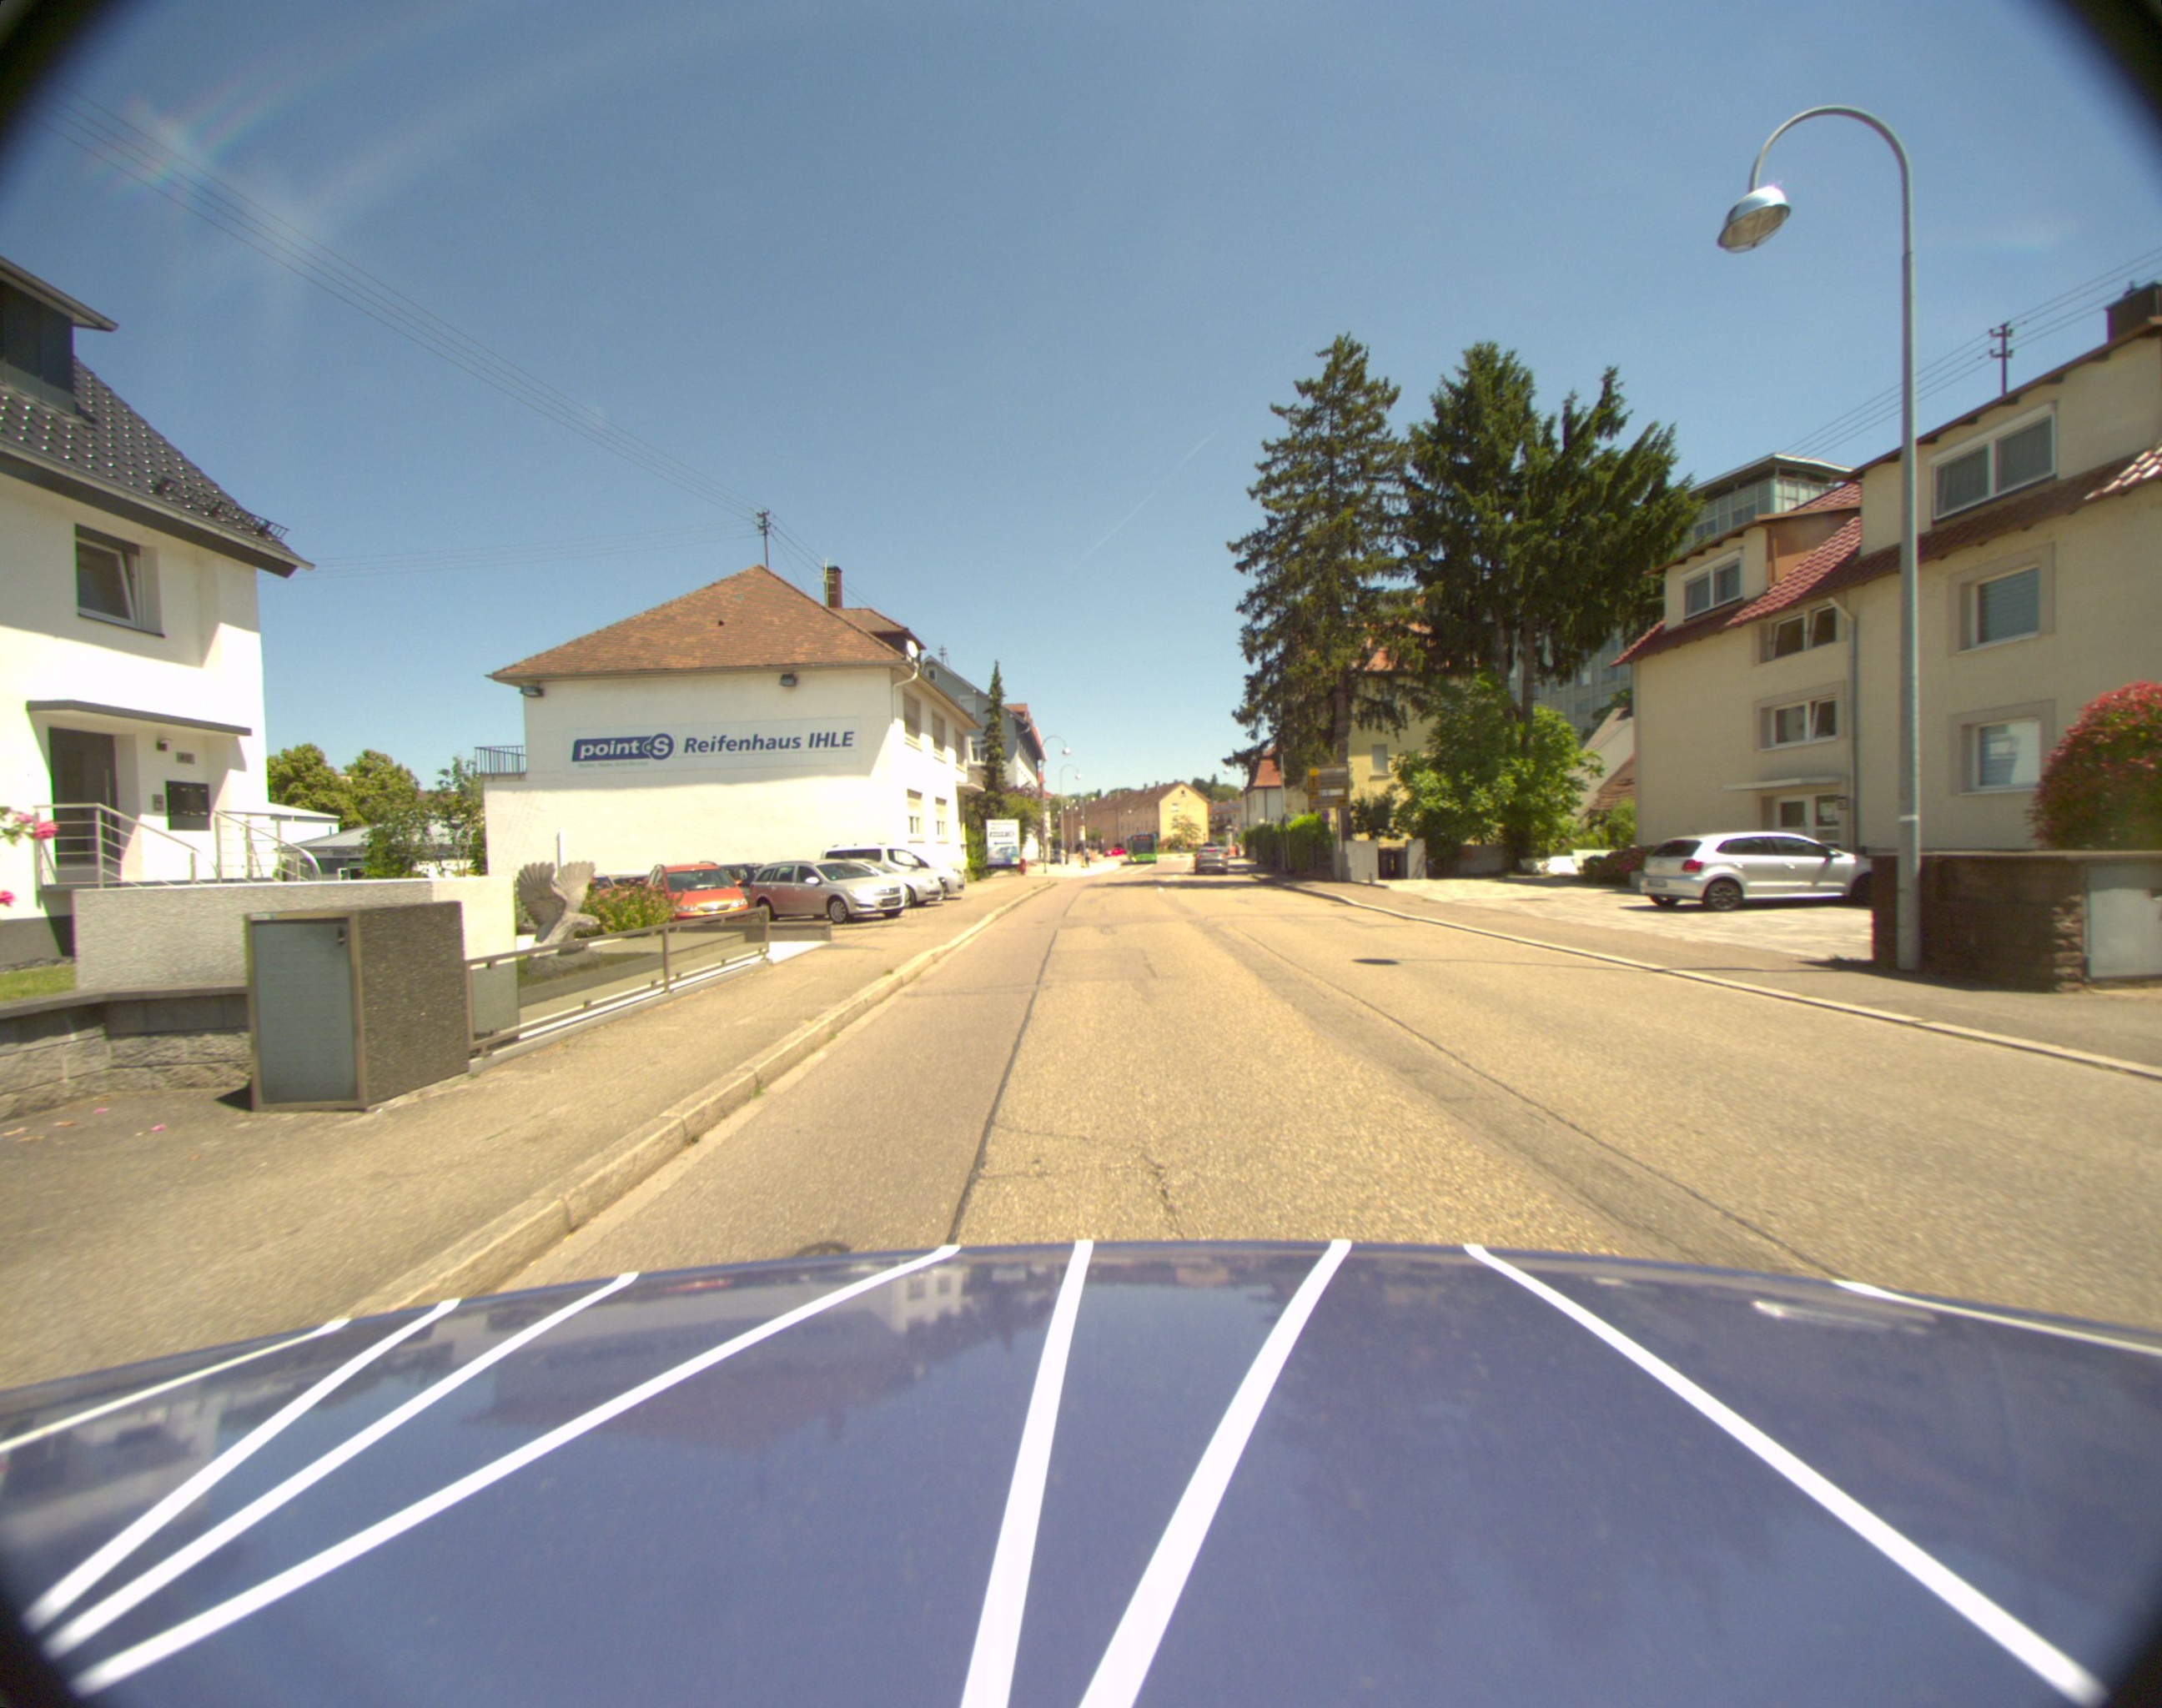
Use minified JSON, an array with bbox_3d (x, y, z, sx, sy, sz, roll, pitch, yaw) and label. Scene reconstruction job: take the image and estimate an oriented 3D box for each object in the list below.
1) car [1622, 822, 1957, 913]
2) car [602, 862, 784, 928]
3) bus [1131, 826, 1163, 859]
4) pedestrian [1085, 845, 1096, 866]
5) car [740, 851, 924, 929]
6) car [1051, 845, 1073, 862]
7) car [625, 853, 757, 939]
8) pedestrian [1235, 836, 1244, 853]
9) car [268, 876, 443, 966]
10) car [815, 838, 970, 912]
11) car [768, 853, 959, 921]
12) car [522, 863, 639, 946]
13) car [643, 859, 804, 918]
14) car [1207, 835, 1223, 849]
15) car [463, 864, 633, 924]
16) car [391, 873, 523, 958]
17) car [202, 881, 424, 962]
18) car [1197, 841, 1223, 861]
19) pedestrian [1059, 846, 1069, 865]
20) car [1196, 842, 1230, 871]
[{"bbox_3d":[13.302,0.243,14.525,4.478,1.433,1.847,-3,1,5],"label":"car"},{"bbox_3d":[-10.662,1.110,21.014,3.993,1.478,2.001,-3,2,12],"label":"car"},{"bbox_3d":[6.994,-1.212,79.961,2.909,3.062,12.566,-3,1,6],"label":"bus"},{"bbox_3d":[0.808,0.127,64.293,0.751,1.795,0.615,1,2,-12],"label":"pedestrian"},{"bbox_3d":[-5.972,0.870,18.053,4.293,1.539,1.759,-3,2,34],"label":"car"},{"bbox_3d":[-1.845,-0.061,73.843,1.762,1.505,3.741,1,1,3],"label":"car"},{"bbox_3d":[-9.148,0.925,17.657,1.641,1.633,4.293,-6,3,-41],"label":"car"},{"bbox_3d":[15.197,-0.871,72.736,0.614,1.555,0.824,-7,1,7],"label":"pedestrian"},{"bbox_3d":[-16.895,1.464,17.948,1.626,1.714,3.838,-6,1,-23],"label":"car"},{"bbox_3d":[-5.701,0.622,23.467,4.303,1.820,1.738,-5,1,-6],"label":"car"},{"bbox_3d":[-5.910,0.878,20.995,4.650,1.401,1.769,-5,1,3],"label":"car"},{"bbox_3d":[-11.632,1.086,17.534,1.716,1.553,4.109,-6,2,-39],"label":"car"},{"bbox_3d":[-10.963,1.042,23.424,3.993,1.478,2.001,-3,2,12],"label":"car"},{"bbox_3d":[17.016,-1.575,96.751,1.857,1.607,4.298,-2,1,9],"label":"car"},{"bbox_3d":[-16.390,1.209,23.461,3.993,1.478,2.001,-3,2,12],"label":"car"},{"bbox_3d":[-14.273,1.320,17.587,1.627,1.553,3.765,-6,2,-30],"label":"car"},{"bbox_3d":[-21.500,1.851,21.436,3.998,1.784,1.999,-4,2,-2],"label":"car"},{"bbox_3d":[9.746,-0.249,57.619,1.809,1.480,4.388,0,1,8],"label":"car"},{"bbox_3d":[-1.388,0.133,63.033,0.614,1.607,0.751,1,2,19],"label":"pedestrian"},{"bbox_3d":[7.374,0.092,42.612,1.743,1.496,4.145,0,1,9],"label":"car"}]
